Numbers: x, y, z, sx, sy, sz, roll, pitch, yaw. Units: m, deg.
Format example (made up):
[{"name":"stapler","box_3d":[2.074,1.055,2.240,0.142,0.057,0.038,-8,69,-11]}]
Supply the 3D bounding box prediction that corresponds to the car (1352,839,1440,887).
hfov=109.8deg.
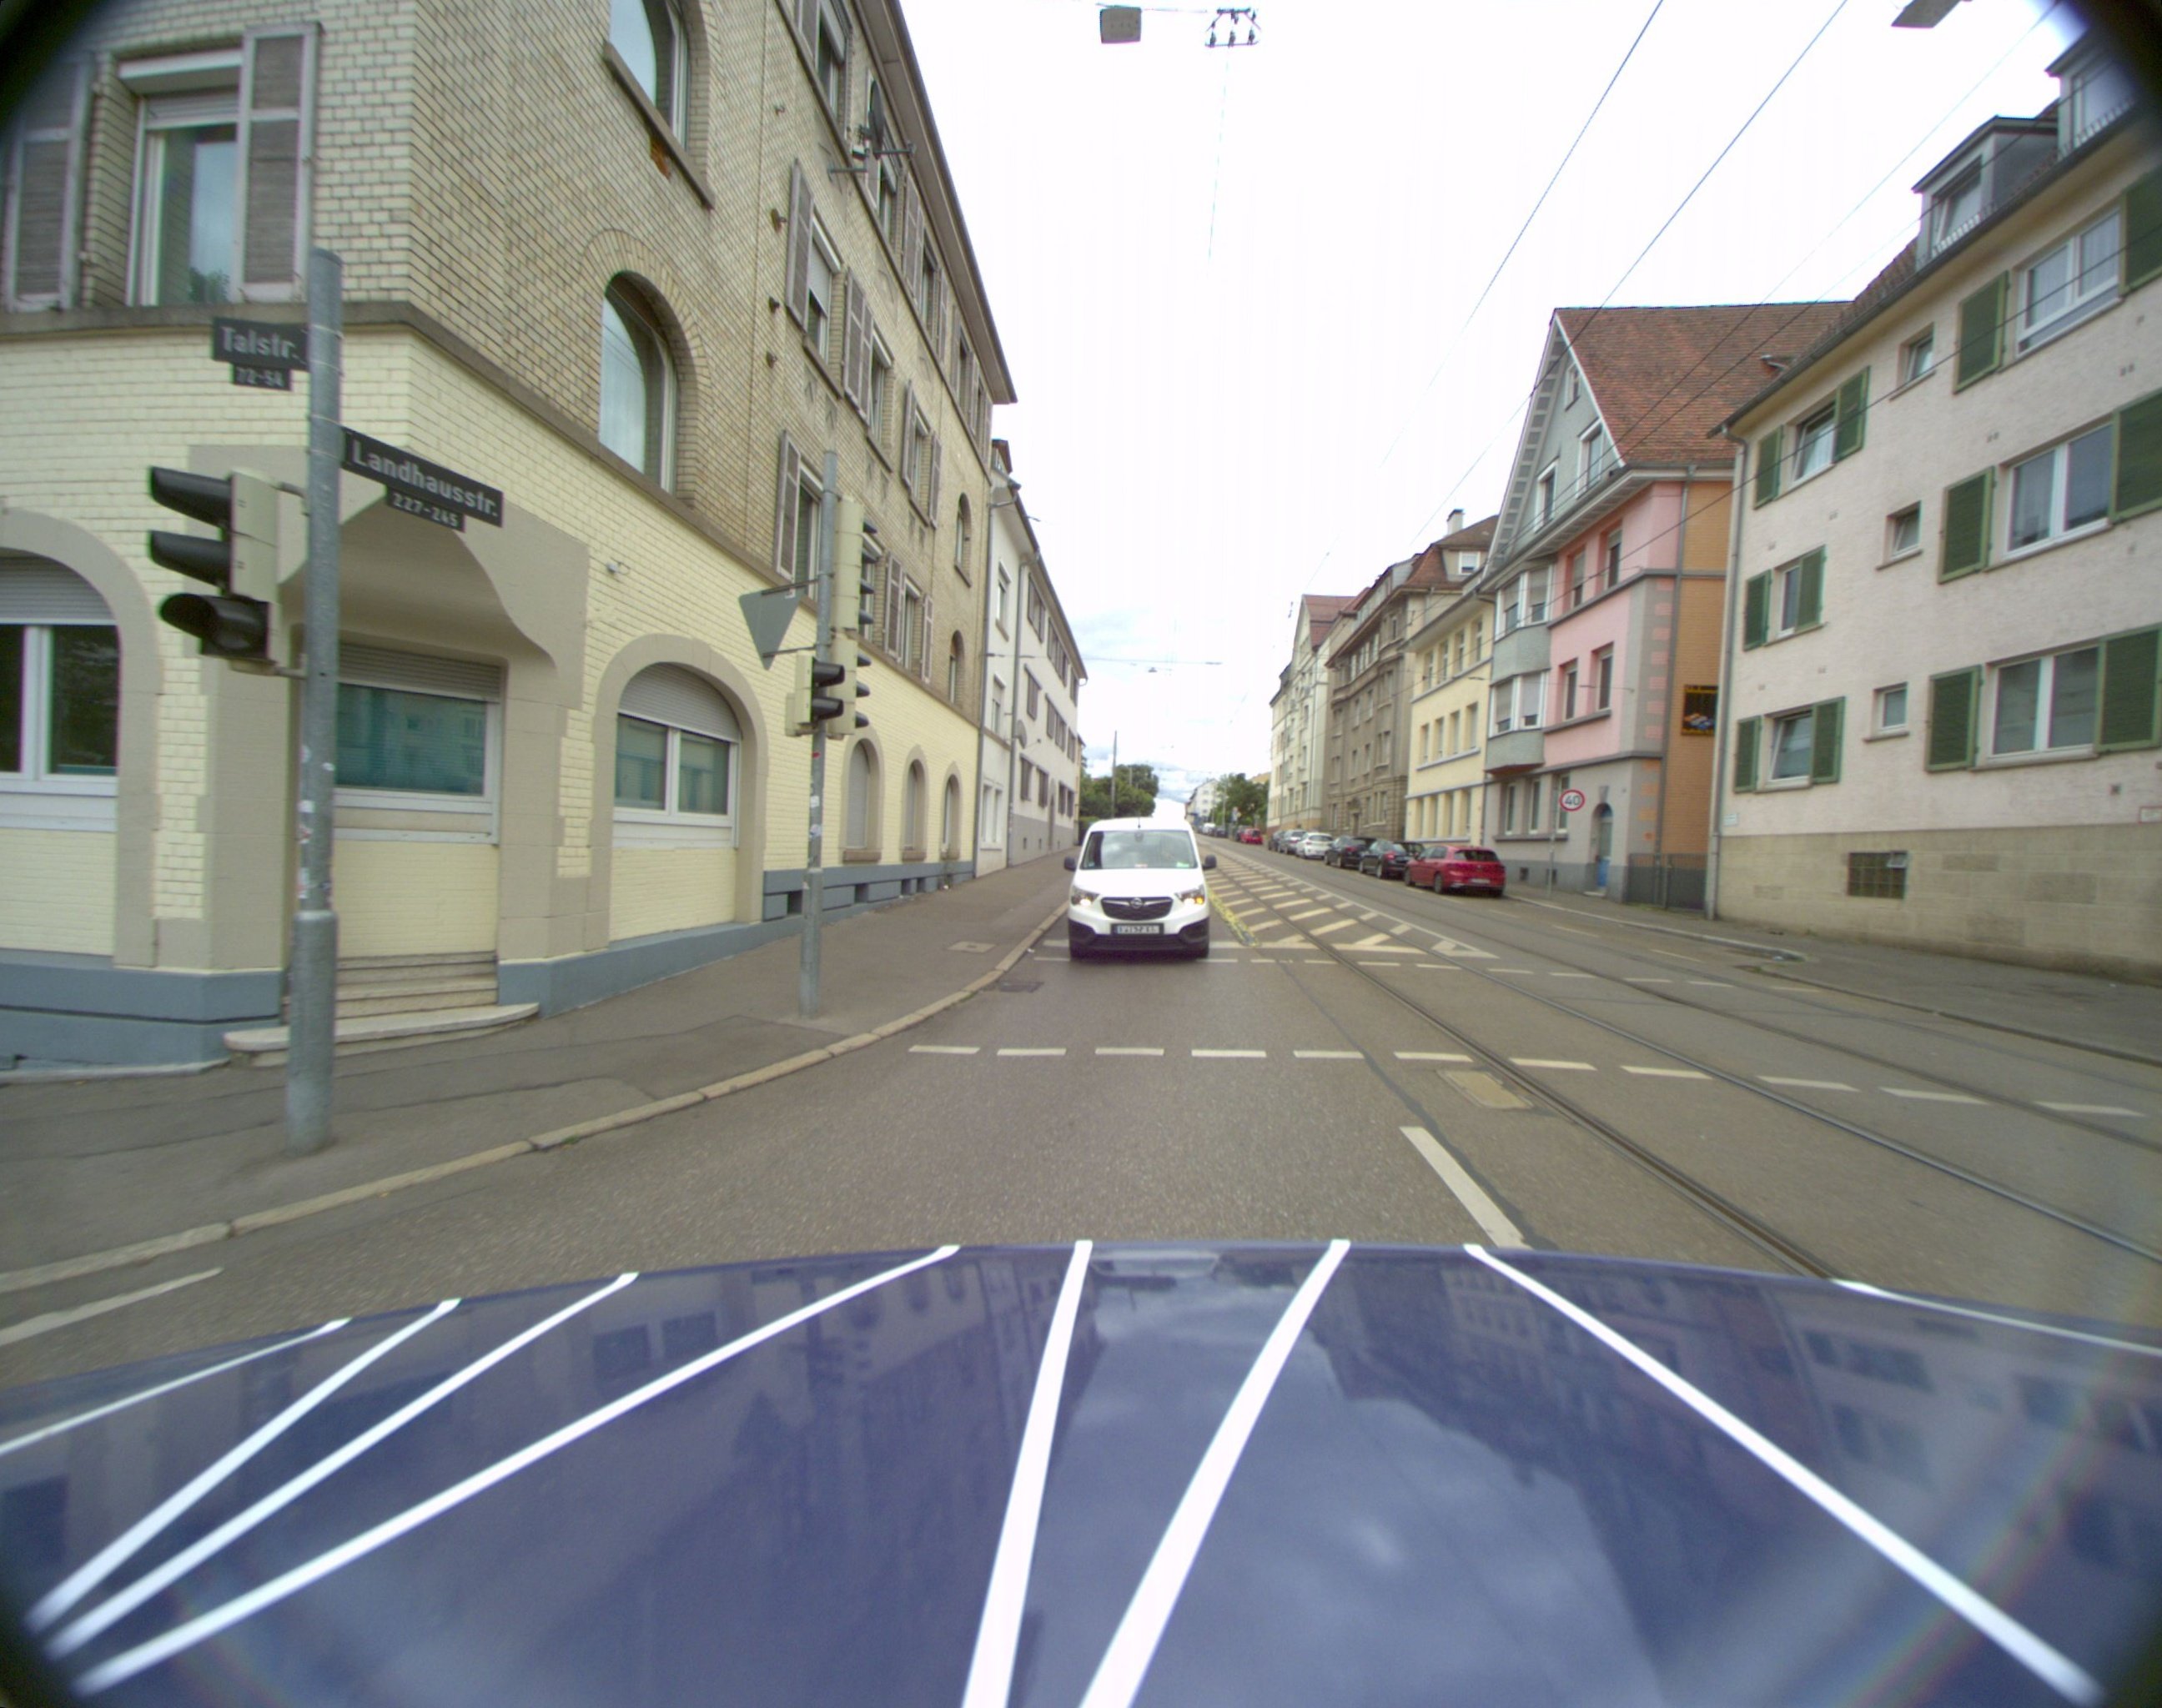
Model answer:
[{"name":"car","box_3d":[11.663,0.265,28.452,1.788,1.403,4.241,4,3,6]}]

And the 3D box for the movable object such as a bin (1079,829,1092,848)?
[{"name":"movable object such as a bin","box_3d":[0.250,-0.914,44.014,0.637,1.004,0.602,5,3,6]}]

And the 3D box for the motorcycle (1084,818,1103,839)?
[{"name":"motorcycle","box_3d":[0.865,-1.749,51.988,0.731,1.383,1.937,7,3,12]}]

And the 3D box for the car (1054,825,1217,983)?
[{"name":"car","box_3d":[0.853,0.494,11.161,1.887,1.828,4.677,0,2,6]}]

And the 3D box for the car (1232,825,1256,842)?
[{"name":"car","box_3d":[16.527,-2.092,77.010,1.742,1.518,3.951,4,3,4]}]

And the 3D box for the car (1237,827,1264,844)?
[{"name":"car","box_3d":[16.096,-1.791,72.282,1.743,1.451,3.950,4,3,1]}]

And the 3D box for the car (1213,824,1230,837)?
[{"name":"car","box_3d":[18.972,-3.163,102.396,1.742,1.518,3.951,4,3,4]}]

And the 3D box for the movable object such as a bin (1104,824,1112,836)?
[{"name":"movable object such as a bin","box_3d":[2.497,-2.217,69.122,0.669,1.053,0.539,1,3,6]}]

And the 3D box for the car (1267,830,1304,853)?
[{"name":"car","box_3d":[14.231,-0.906,53.045,1.742,1.374,4.044,2,3,4]}]

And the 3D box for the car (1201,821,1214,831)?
[{"name":"car","box_3d":[20.949,-4.644,126.204,1.742,1.518,3.951,4,3,4]}]

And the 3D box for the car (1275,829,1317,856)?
[{"name":"car","box_3d":[13.592,-0.766,48.226,1.742,1.559,4.142,2,3,4]}]

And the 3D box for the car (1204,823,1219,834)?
[{"name":"car","box_3d":[19.723,-3.897,115.122,1.742,1.518,3.951,4,3,4]}]

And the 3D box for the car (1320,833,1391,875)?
[{"name":"car","box_3d":[12.038,-0.056,33.654,1.788,1.503,4.525,4,3,6]}]

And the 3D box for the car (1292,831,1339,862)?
[{"name":"car","box_3d":[13.138,-0.445,42.714,1.742,1.503,3.800,3,3,6]}]

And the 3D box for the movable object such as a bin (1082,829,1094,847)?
[{"name":"movable object such as a bin","box_3d":[0.405,-0.943,44.885,0.565,1.004,0.498,5,3,-3]}]

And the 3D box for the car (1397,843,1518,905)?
[{"name":"car","box_3d":[11.209,0.527,22.995,1.788,1.431,4.261,4,3,6]}]

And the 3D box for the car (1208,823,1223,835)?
[{"name":"car","box_3d":[19.208,-3.577,108.691,1.742,1.518,3.951,4,3,6]}]

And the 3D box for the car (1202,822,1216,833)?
[{"name":"car","box_3d":[20.189,-4.203,120.386,1.742,1.518,3.951,4,3,4]}]
